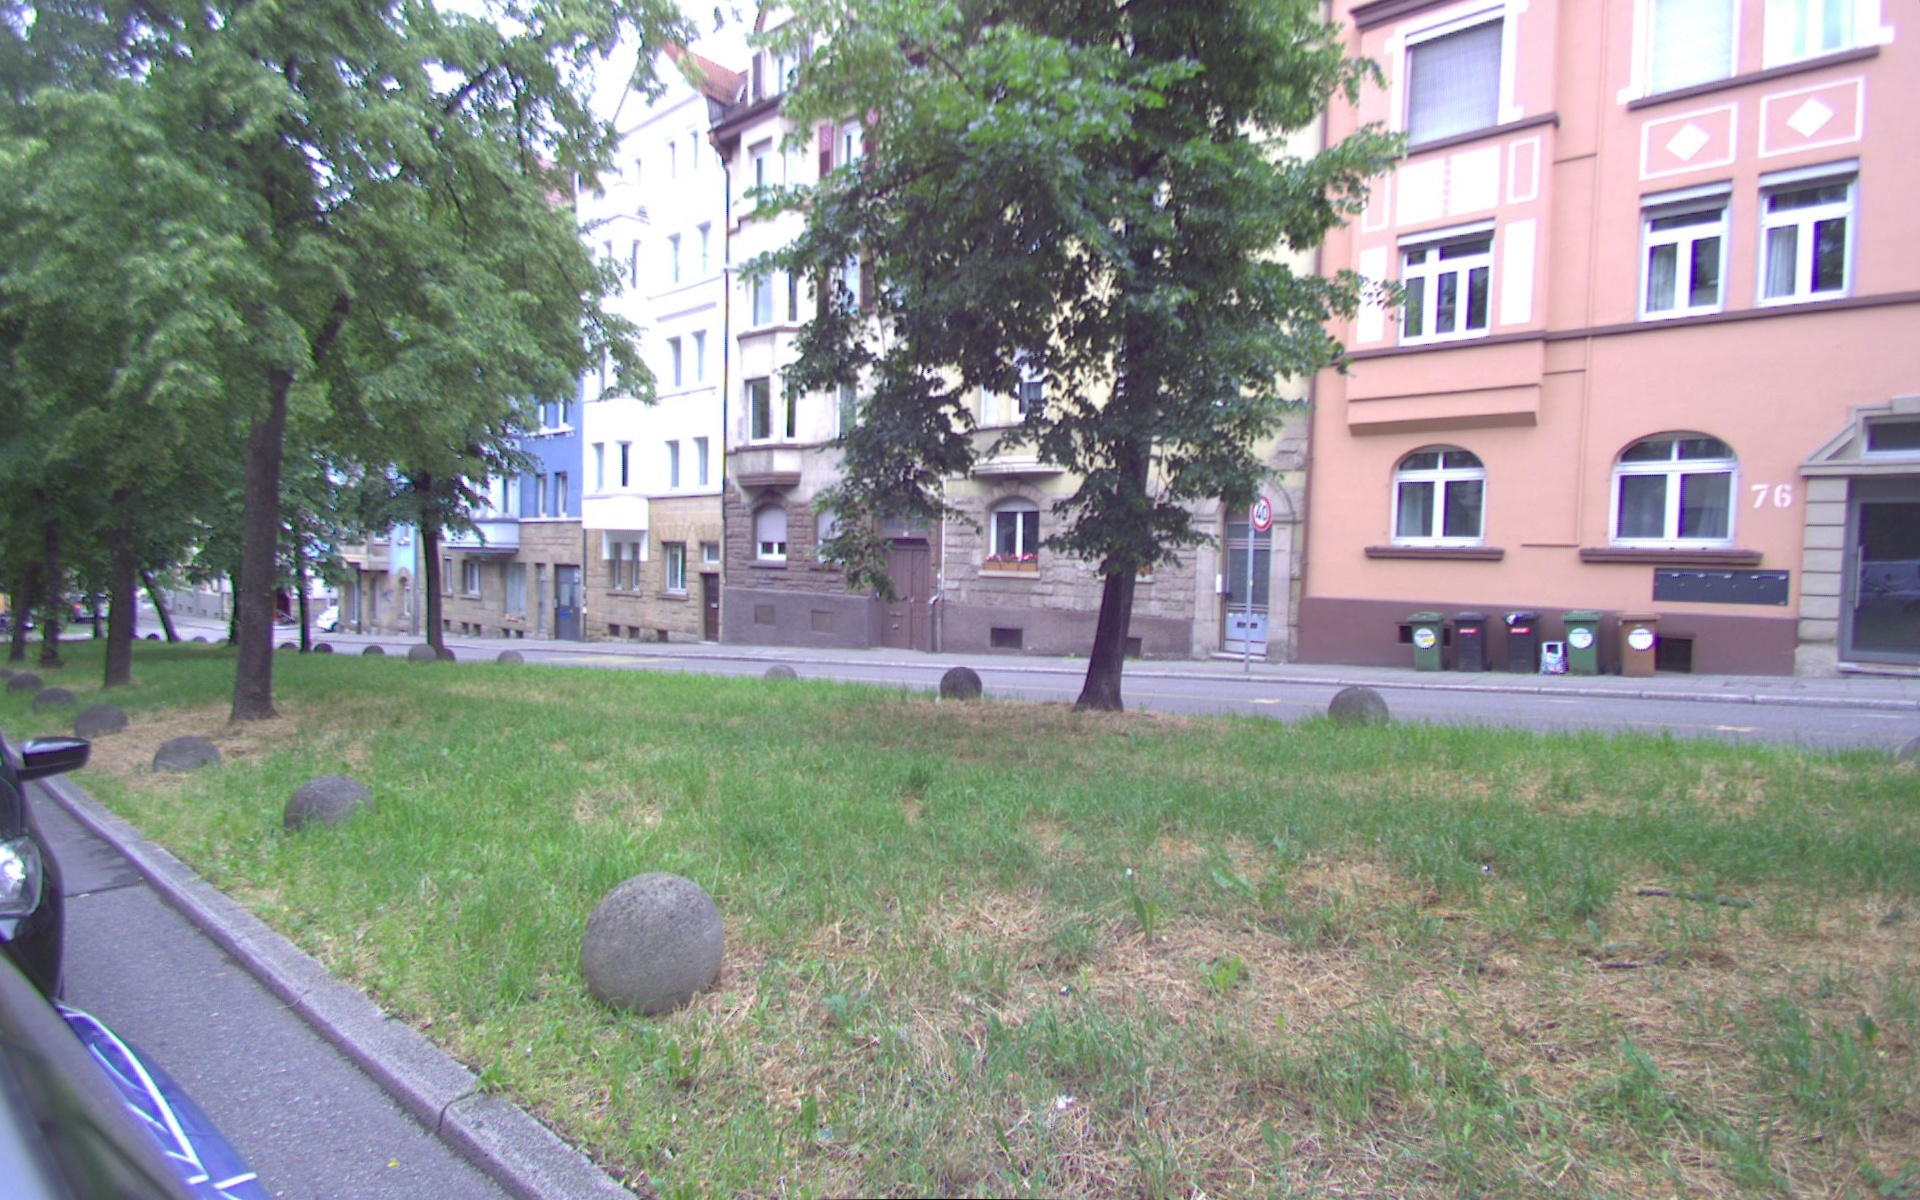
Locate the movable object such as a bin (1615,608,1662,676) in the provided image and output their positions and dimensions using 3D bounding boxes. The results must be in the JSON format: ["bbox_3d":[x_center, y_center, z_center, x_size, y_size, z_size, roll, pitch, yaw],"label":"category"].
[{"bbox_3d":[9.634,0.584,14.355,0.514,0.928,0.750,-1,0,36],"label":"movable object such as a bin"}]

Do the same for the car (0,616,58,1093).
[{"bbox_3d":[-4.659,0.789,3.717,3.295,1.476,1.590,-1,-2,41],"label":"car"}]

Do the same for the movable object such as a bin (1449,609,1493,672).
[{"bbox_3d":[7.997,0.624,15.821,0.531,0.953,0.575,-1,0,35],"label":"movable object such as a bin"}]

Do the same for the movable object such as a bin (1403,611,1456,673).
[{"bbox_3d":[7.504,0.658,16.169,0.617,0.955,0.610,-1,0,40],"label":"movable object such as a bin"}]

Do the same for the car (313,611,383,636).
[{"bbox_3d":[-35.361,1.319,58.503,3.244,1.341,1.674,-1,0,-40],"label":"car"}]

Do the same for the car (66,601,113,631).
[{"bbox_3d":[-60.785,1.110,70.626,5.308,1.959,1.971,-2,0,44],"label":"car"}]

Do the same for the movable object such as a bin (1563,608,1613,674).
[{"bbox_3d":[9.158,0.590,14.761,0.559,0.928,0.648,-1,0,36],"label":"movable object such as a bin"}]
